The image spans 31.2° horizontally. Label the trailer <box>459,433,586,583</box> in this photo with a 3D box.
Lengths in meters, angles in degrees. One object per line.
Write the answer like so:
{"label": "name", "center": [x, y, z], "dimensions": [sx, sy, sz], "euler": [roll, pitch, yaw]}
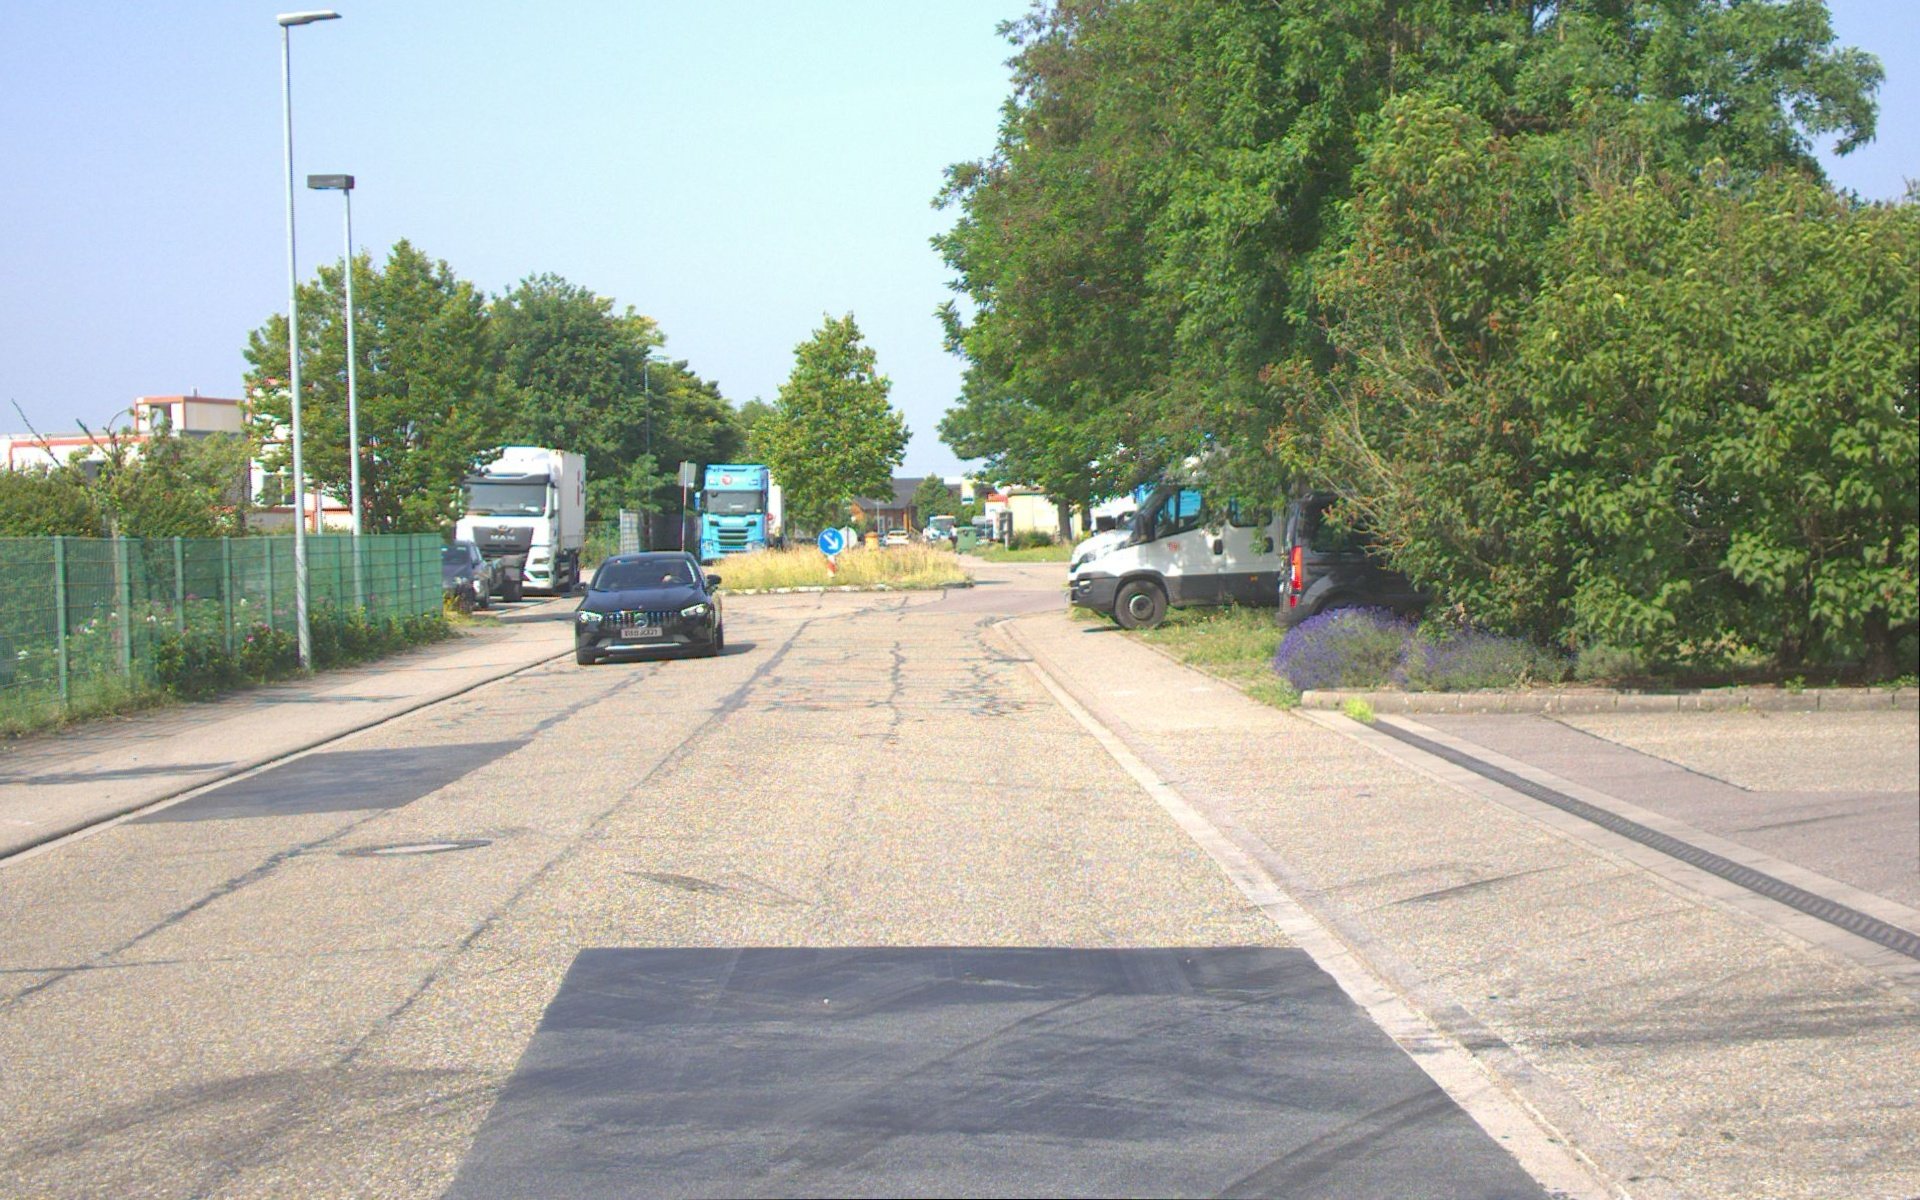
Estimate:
{"label": "trailer", "center": [-11.904, -2.433, 94.115], "dimensions": [2.699, 3.908, 7.576], "euler": [0, 0, -2]}

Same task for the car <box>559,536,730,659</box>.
{"label": "car", "center": [-4.181, -0.074, 46.170], "dimensions": [1.993, 1.444, 4.420], "euler": [-4, 1, -2]}

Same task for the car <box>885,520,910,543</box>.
{"label": "car", "center": [-4.602, -5.025, 252.983], "dimensions": [1.718, 1.655, 3.824], "euler": [0, 0, -3]}

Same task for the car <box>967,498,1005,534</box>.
{"label": "car", "center": [1.315, -4.292, 175.226], "dimensions": [1.792, 1.744, 4.000], "euler": [0, 0, -2]}

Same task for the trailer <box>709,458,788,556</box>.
{"label": "trailer", "center": [-8.782, -3.797, 143.927], "dimensions": [2.831, 3.829, 12.037], "euler": [0, 0, -1]}

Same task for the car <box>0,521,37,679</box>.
{"label": "car", "center": [-11.030, 0.118, 31.544], "dimensions": [4.536, 1.439, 1.952], "euler": [-3, 1, -1]}

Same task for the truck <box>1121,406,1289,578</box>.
{"label": "truck", "center": [5.569, -2.400, 79.780], "dimensions": [2.888, 3.523, 9.755], "euler": [-5, 1, 0]}

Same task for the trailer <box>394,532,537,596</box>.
{"label": "trailer", "center": [-11.944, -0.895, 83.356], "dimensions": [2.681, 1.448, 5.077], "euler": [-1, 2, 0]}

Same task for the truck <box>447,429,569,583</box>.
{"label": "truck", "center": [-11.775, -2.415, 89.849], "dimensions": [2.708, 3.908, 4.297], "euler": [0, 0, -2]}

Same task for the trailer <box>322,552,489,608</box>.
{"label": "trailer", "center": [-11.277, -0.435, 70.470], "dimensions": [2.546, 0.922, 6.711], "euler": [2, 1, -2]}

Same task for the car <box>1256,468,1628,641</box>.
{"label": "car", "center": [5.527, -0.533, 39.835], "dimensions": [3.987, 1.831, 2.000], "euler": [-2, 1, 1]}

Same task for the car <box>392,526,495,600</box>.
{"label": "car", "center": [-11.559, -0.864, 77.165], "dimensions": [1.695, 1.556, 4.336], "euler": [1, 2, -1]}

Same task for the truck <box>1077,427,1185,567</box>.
{"label": "truck", "center": [5.131, -3.088, 103.720], "dimensions": [2.746, 3.968, 4.000], "euler": [-4, 1, -1]}

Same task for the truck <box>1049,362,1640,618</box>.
{"label": "truck", "center": [5.539, -1.584, 50.462], "dimensions": [8.208, 3.358, 2.741], "euler": [-2, 0, -2]}

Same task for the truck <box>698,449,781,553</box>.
{"label": "truck", "center": [-8.564, -3.782, 134.369], "dimensions": [2.825, 3.812, 9.673], "euler": [0, 0, -1]}
